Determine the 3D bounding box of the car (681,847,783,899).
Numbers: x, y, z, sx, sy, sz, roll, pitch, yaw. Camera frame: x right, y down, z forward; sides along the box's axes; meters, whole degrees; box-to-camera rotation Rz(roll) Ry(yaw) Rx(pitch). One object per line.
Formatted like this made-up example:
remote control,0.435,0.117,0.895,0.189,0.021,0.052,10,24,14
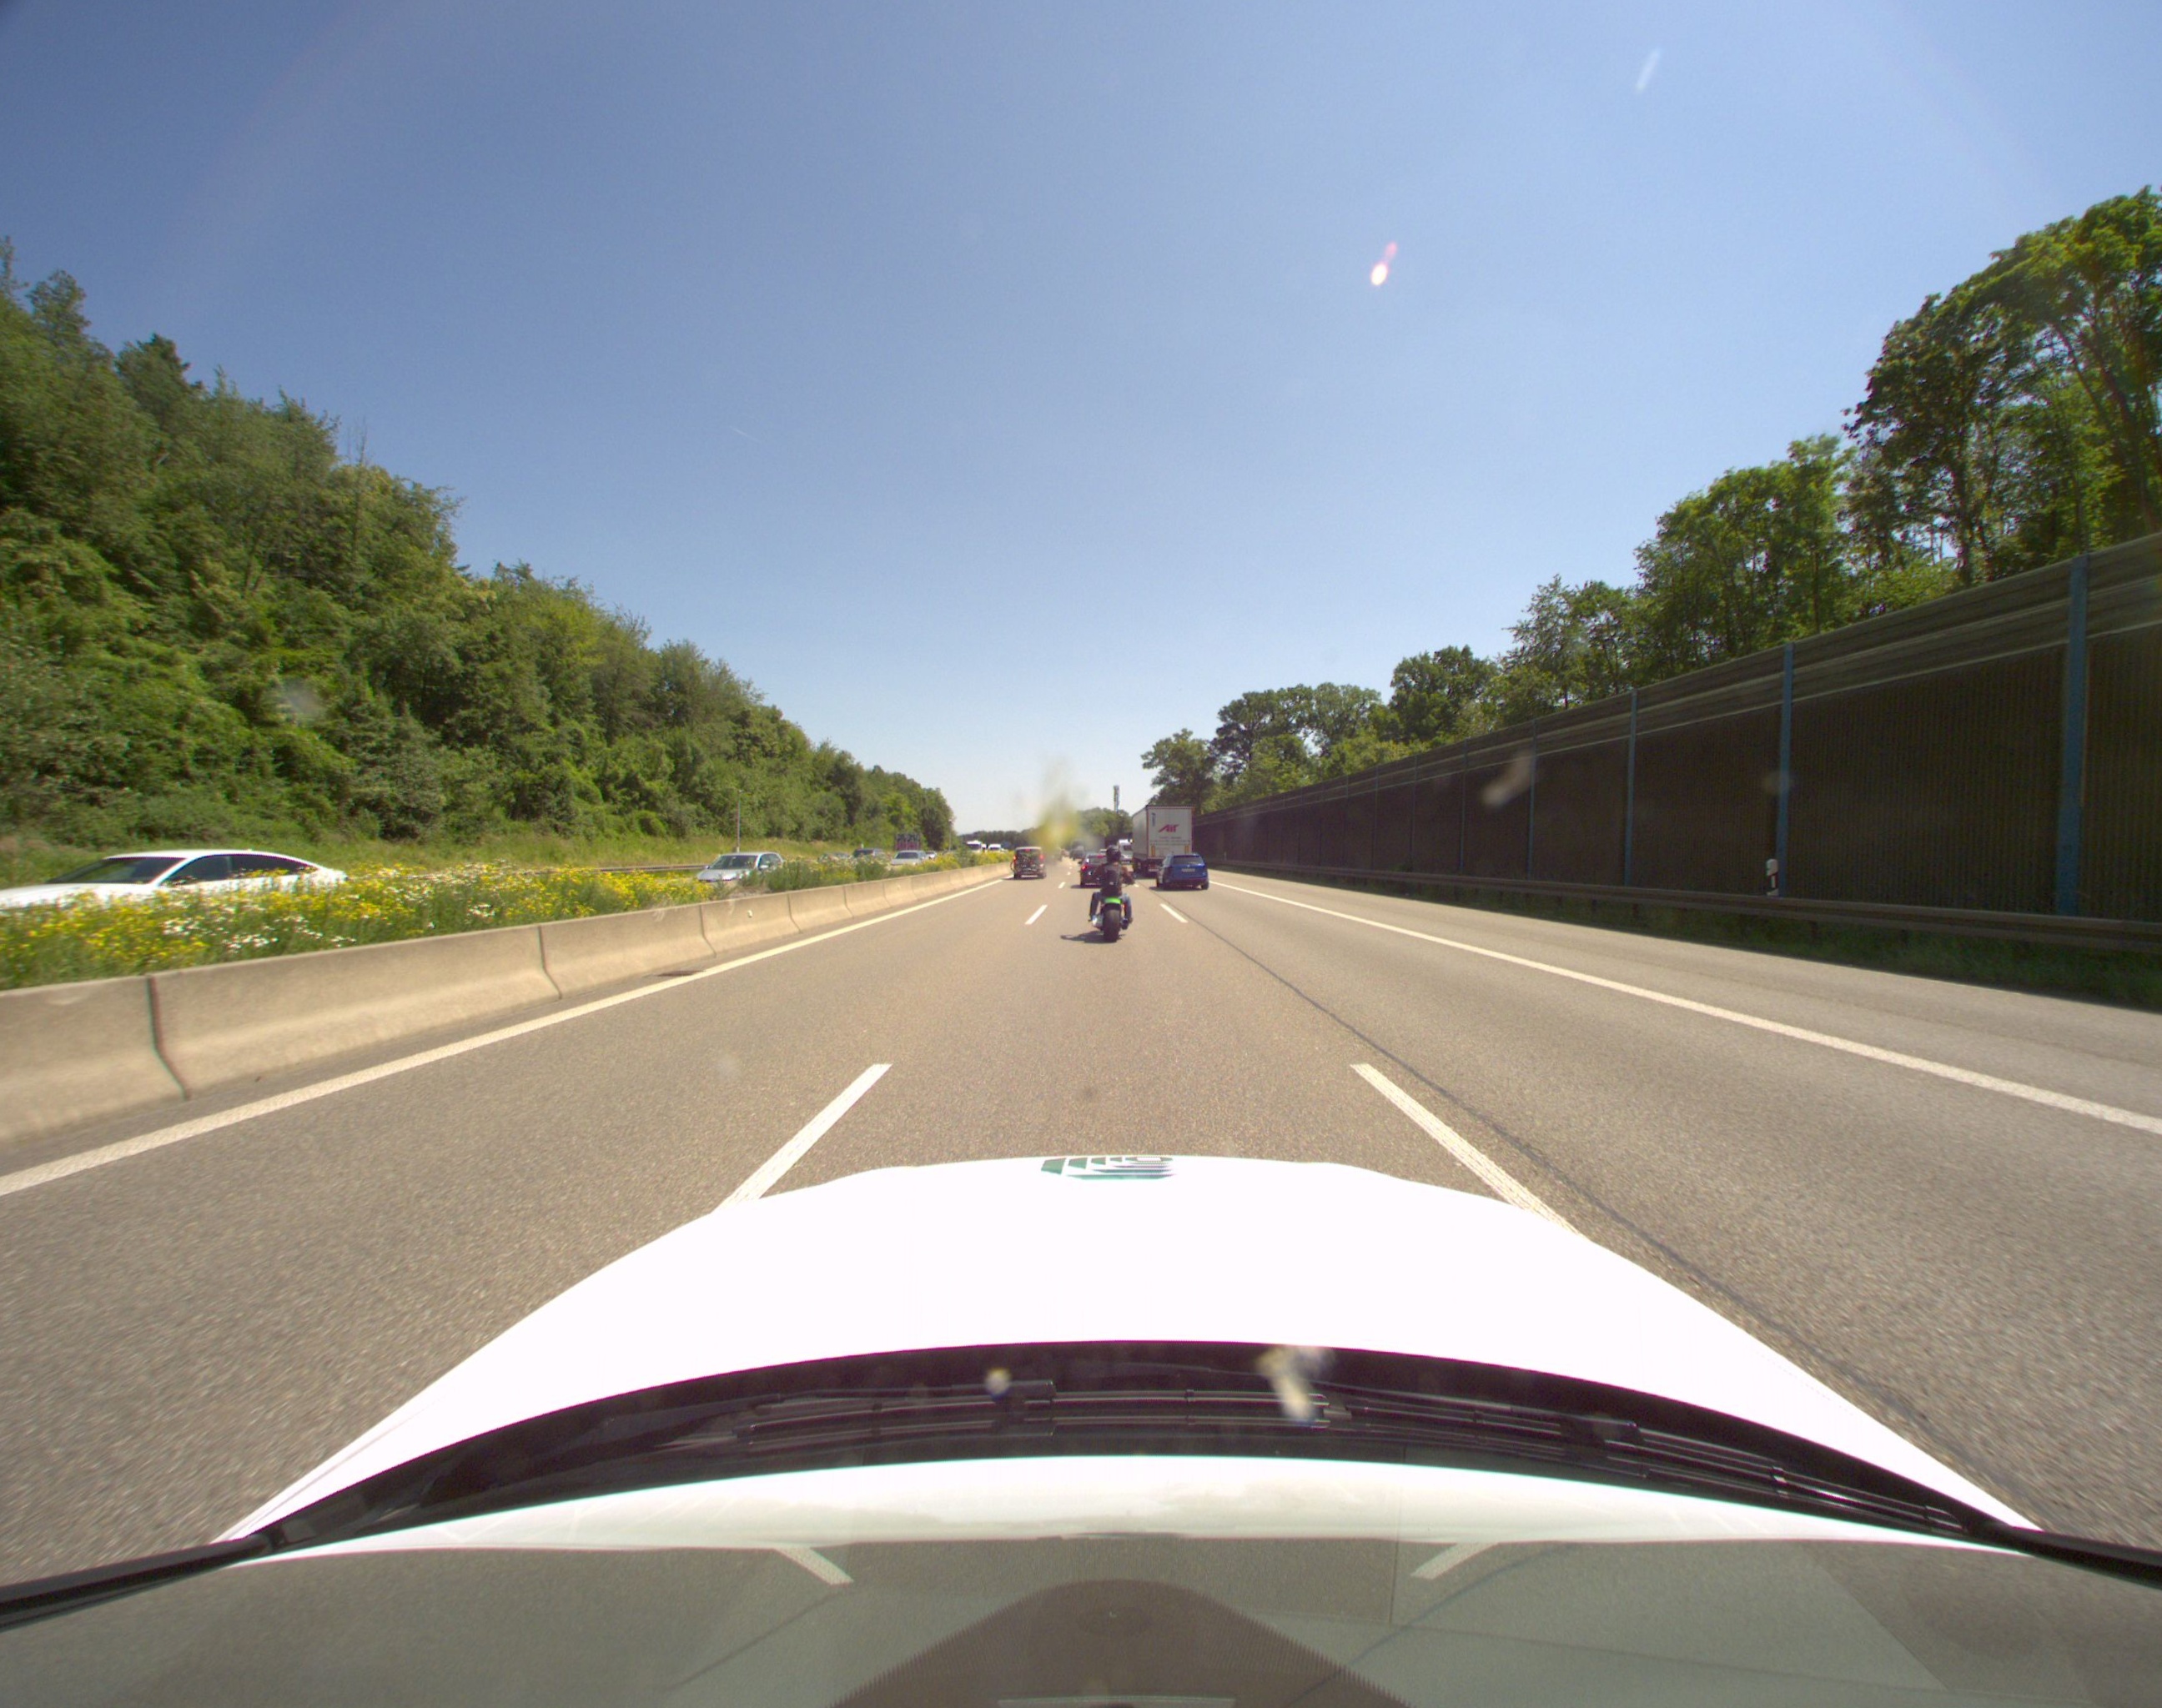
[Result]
car,-10.533,0.561,24.816,1.472,1.442,3.565,-1,-1,1

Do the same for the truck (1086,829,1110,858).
truck,2.971,-1.875,147.598,3.793,4.960,8.942,-1,-1,-2

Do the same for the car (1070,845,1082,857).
car,-0.881,-0.439,144.333,1.908,2.014,3.684,-1,-1,-5

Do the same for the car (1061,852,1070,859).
car,-3.308,0.349,171.119,1.827,1.496,3.742,-1,-1,-1

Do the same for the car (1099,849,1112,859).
car,3.864,0.061,131.272,1.987,1.574,3.999,-1,-1,0

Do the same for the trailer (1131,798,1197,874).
trailer,4.913,-1.020,50.732,2.875,4.038,13.797,-1,0,1

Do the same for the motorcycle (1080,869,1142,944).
motorcycle,0.596,0.879,14.703,0.960,1.148,2.816,0,0,5

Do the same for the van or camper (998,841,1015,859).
van or camper,-13.078,-0.712,142.680,2.250,2.899,6.557,-1,0,0

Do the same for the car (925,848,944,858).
car,-21.351,-0.193,118.497,1.987,1.432,4.190,-1,0,-1

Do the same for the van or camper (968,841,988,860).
van or camper,-19.270,-0.625,153.014,2.532,3.317,9.000,-1,-1,0

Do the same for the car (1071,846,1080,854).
car,-1.364,-1.004,203.177,2.102,1.876,3.997,-1,-1,-2

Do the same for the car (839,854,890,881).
car,-13.341,0.813,50.407,1.986,1.590,4.163,-1,-1,1

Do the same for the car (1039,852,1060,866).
car,-3.314,0.520,86.834,1.987,1.387,4.000,-1,-1,0

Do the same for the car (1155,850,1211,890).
car,4.101,0.636,33.455,1.646,1.483,4.479,-1,-1,-1

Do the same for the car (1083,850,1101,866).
car,1.108,0.411,82.570,1.773,1.552,3.586,-1,0,1

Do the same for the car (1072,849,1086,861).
car,-0.308,0.133,116.795,1.988,1.640,3.997,-1,-1,-1

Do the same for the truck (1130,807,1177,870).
truck,5.049,-1.065,57.574,2.876,4.146,5.987,-1,0,1

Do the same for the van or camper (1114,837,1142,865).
van or camper,4.991,-0.297,87.063,2.675,2.813,6.804,-1,-1,1

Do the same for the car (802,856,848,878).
car,-17.605,0.885,56.171,1.782,1.456,4.000,-1,-1,1

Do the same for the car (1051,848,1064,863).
car,-3.224,0.205,110.832,1.787,2.014,3.639,-1,-1,-2

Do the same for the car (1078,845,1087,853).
car,0.327,-1.110,197.585,2.102,1.876,3.997,-1,-1,-2

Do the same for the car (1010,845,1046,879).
car,-3.047,0.488,47.363,1.894,1.873,4.410,-1,-1,-1

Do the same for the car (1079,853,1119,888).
car,0.744,0.711,36.011,1.657,1.453,3.868,-1,-1,0

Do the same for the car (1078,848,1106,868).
car,0.798,0.291,60.766,1.987,1.430,3.847,-1,-1,1

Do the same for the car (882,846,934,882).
car,-10.040,0.592,47.538,1.985,2.014,4.003,-1,-1,3

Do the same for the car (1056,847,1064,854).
car,-5.020,-0.850,199.412,1.826,1.496,3.743,-1,-1,0

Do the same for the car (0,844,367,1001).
car,-14.287,0.925,12.776,1.985,2.014,4.571,-1,-1,3

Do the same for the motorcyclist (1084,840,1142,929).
motorcyclist,0.595,0.520,14.506,0.895,1.475,1.875,-1,-1,5
